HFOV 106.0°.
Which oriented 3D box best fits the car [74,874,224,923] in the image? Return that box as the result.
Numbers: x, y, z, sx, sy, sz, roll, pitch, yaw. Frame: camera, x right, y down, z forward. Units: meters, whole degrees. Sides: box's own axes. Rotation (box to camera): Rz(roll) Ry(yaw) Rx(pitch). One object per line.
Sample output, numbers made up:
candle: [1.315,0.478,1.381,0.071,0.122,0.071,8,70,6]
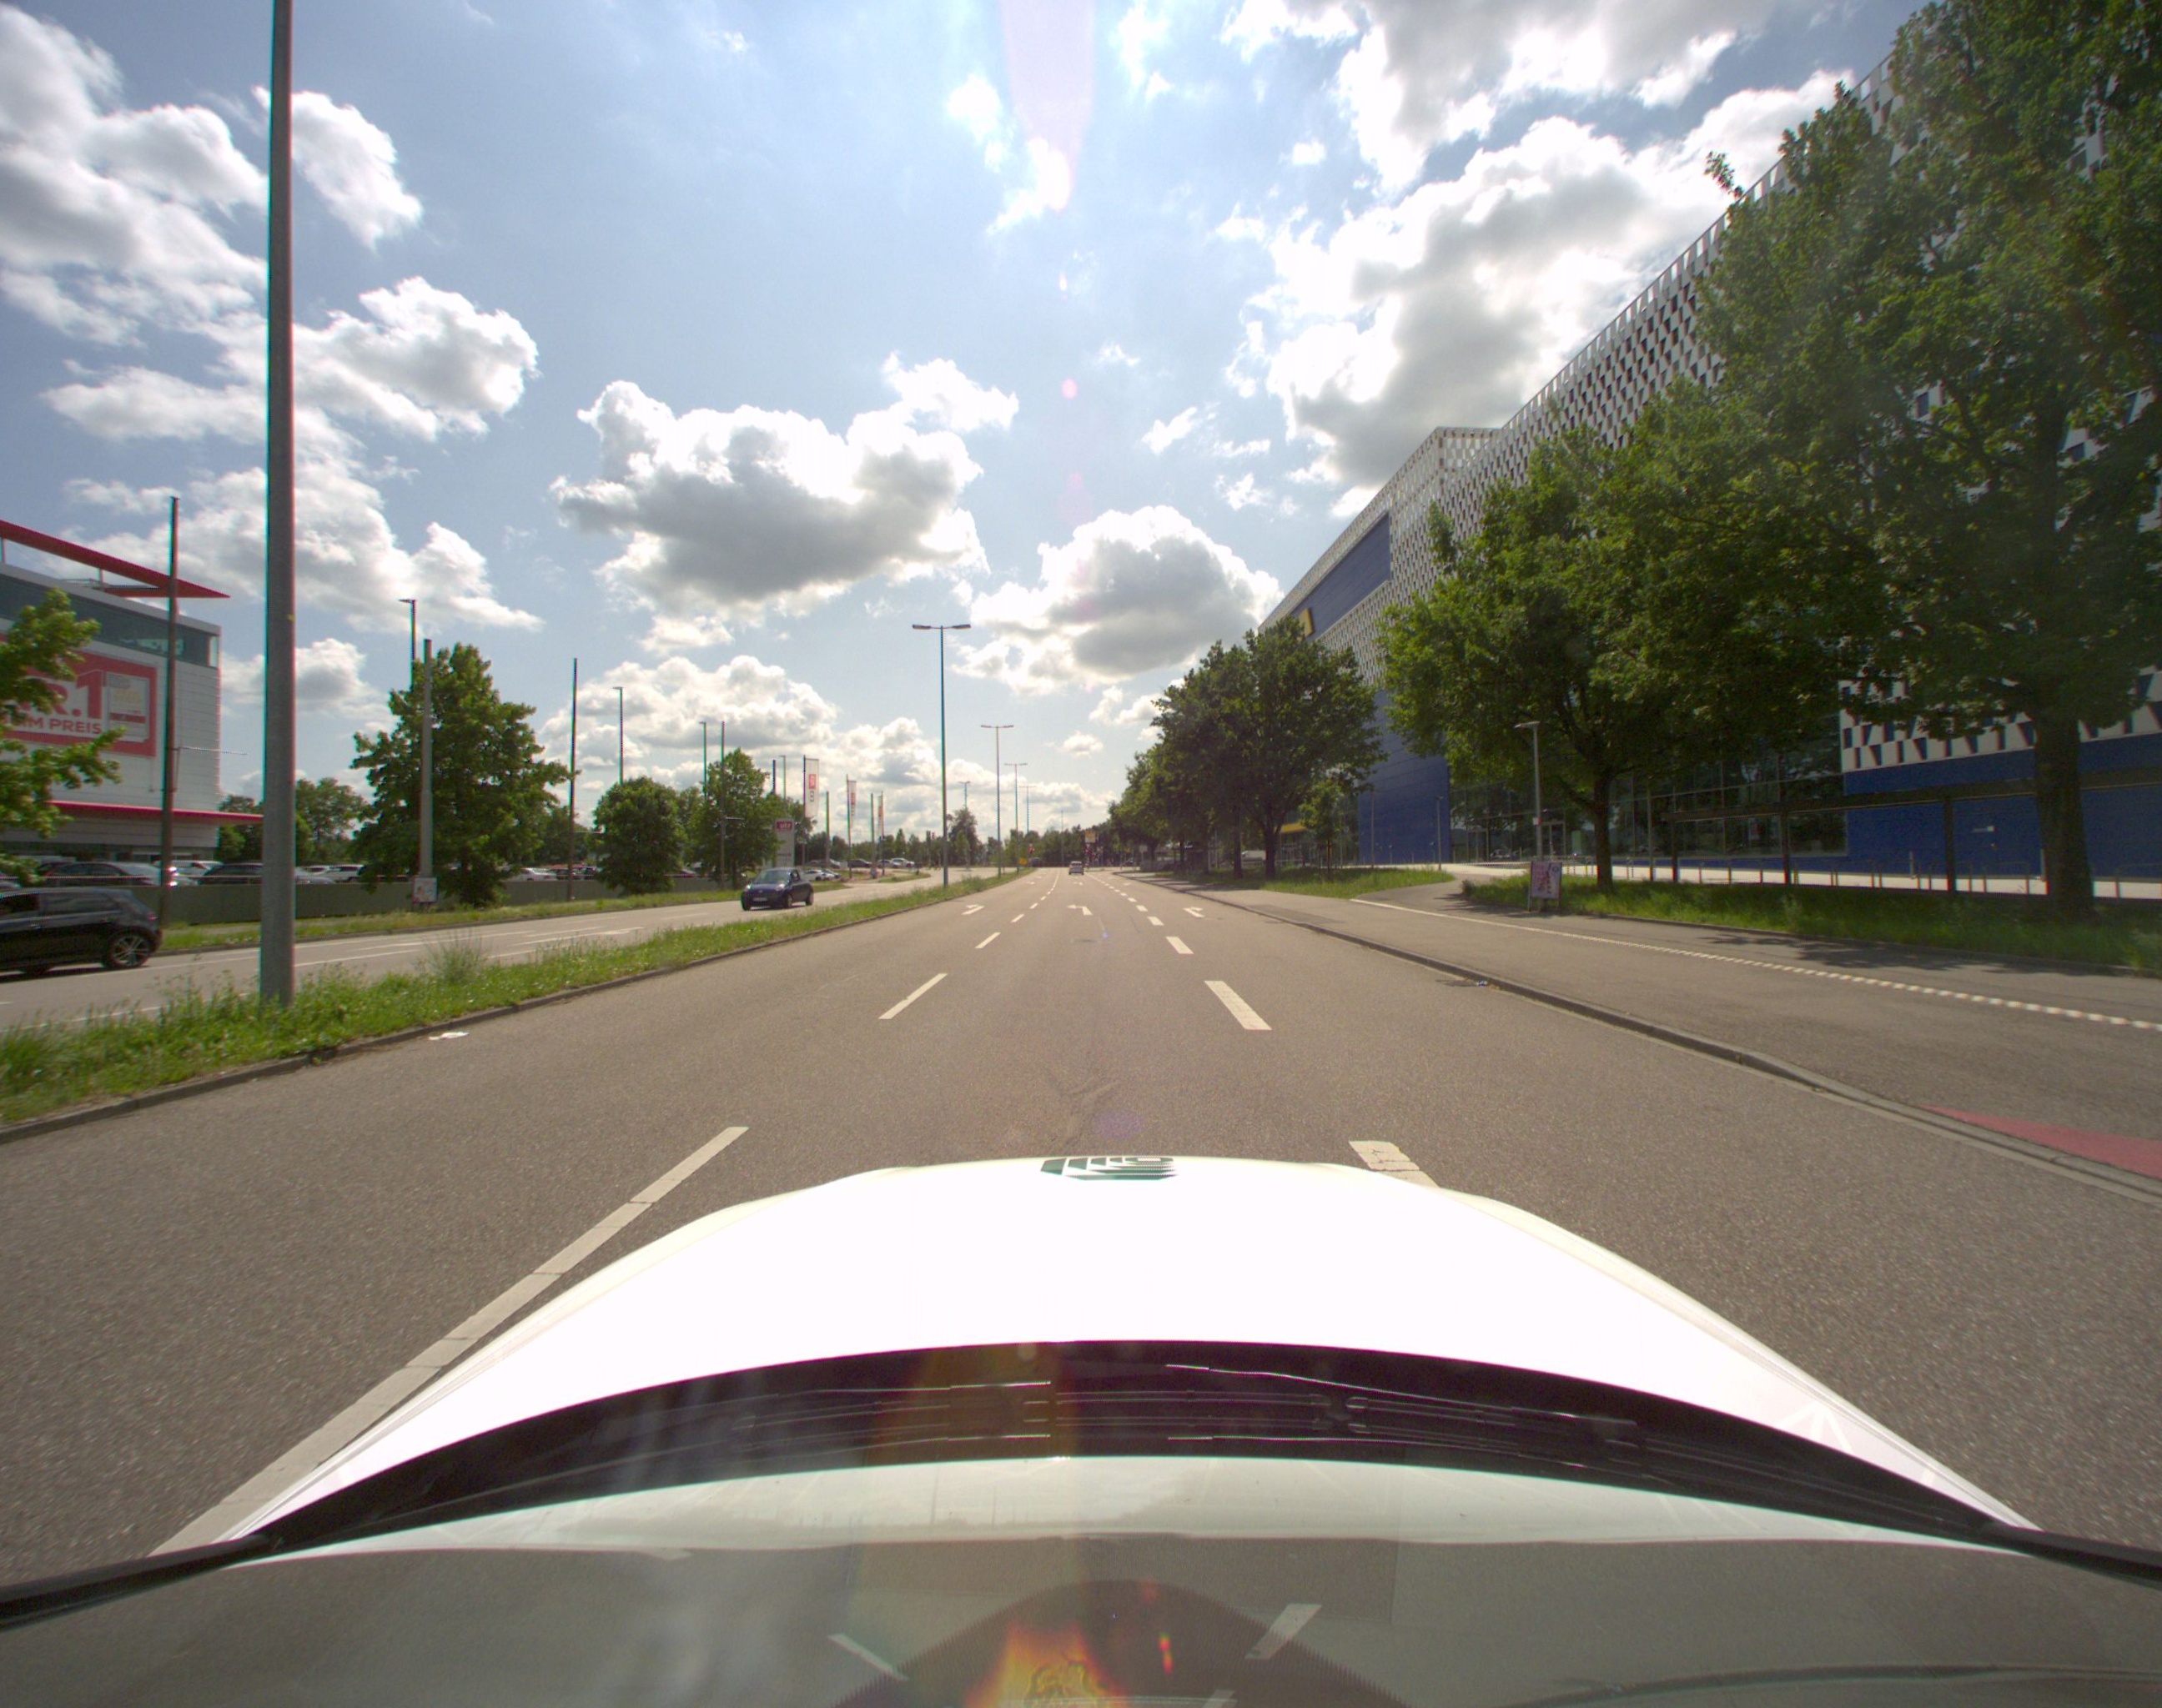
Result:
car: [-42.806,2.030,37.485,4.338,1.989,1.998,-1,1,-3]

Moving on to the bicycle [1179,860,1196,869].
bicycle: [12.265,1.178,93.685,1.860,0.995,0.423,-2,-2,-7]

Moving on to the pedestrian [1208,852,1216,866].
pedestrian: [18.152,0.714,112.776,1.001,1.902,0.977,-1,-3,12]

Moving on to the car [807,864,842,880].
car: [-32.737,2.281,103.987,3.990,2.014,1.991,-1,-1,-13]

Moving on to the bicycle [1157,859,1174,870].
bicycle: [10.104,1.257,97.259,1.860,1.187,0.423,-2,0,-7]

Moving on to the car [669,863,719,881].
car: [-43.704,2.051,92.070,4.571,1.989,1.998,0,-1,-3]

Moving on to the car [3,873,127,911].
car: [-57.642,2.147,46.278,4.338,1.989,1.998,-1,-1,-3]

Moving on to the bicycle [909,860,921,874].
bicycle: [-20.849,1.637,102.319,1.014,1.675,2.047,-2,0,-1]

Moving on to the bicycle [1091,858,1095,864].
bicycle: [2.287,1.401,154.410,0.617,1.087,1.722,-1,0,0]

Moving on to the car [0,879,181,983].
car: [-16.976,1.214,12.500,1.613,1.470,4.118,-2,0,2]

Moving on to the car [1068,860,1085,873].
car: [-0.565,1.435,94.196,1.889,1.470,3.831,1,0,-1]

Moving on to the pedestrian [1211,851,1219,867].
pedestrian: [14.158,0.531,85.823,0.626,1.722,0.528,-3,-2,34]

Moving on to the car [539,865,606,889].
car: [-43.414,1.953,69.586,4.338,1.989,1.998,0,-1,-3]

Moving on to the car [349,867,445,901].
car: [-43.526,1.905,51.907,4.338,1.989,1.998,-1,-1,-3]

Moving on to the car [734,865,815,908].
car: [-11.469,1.213,30.701,1.734,1.475,3.673,-2,-2,-2]

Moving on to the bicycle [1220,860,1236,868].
bicycle: [18.494,1.270,102.369,1.859,0.994,0.464,-1,0,-6]

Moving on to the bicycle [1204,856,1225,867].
bicycle: [14.001,0.783,85.382,1.988,1.108,0.581,-3,-1,36]

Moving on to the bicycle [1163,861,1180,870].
bicycle: [10.467,1.359,93.807,1.860,0.994,0.423,-2,0,-7]

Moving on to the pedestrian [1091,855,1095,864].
pedestrian: [2.284,1.041,154.378,0.609,1.769,0.672,-1,0,0]

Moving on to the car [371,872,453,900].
car: [-48.716,2.321,59.380,4.338,1.831,1.776,-1,-1,-3]

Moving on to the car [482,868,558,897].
car: [-42.989,2.161,62.447,4.338,1.989,1.998,-1,-1,-3]

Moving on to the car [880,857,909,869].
car: [-31.422,1.542,137.328,4.338,1.989,1.998,-1,-1,-3]

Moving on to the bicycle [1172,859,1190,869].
bicycle: [10.582,1.042,86.191,1.860,0.994,0.423,-3,0,-7]

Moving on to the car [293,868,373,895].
car: [-58.913,2.127,64.203,4.338,1.989,1.998,-1,0,-3]

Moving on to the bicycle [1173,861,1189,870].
bicycle: [11.658,1.320,95.066,1.860,0.994,0.423,-2,0,-7]

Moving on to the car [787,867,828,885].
car: [-33.468,2.694,99.697,4.338,1.989,1.998,-1,-1,-3]

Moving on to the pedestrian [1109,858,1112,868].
pedestrian: [5.370,1.588,146.900,0.521,1.721,0.730,-2,0,2]

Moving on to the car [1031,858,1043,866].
car: [-7.794,1.427,144.030,1.891,1.470,3.826,1,0,-5]

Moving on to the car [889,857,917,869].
car: [-30.648,1.513,140.297,4.338,1.989,1.998,-1,-1,-3]

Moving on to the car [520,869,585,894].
car: [-43.547,2.229,67.152,4.062,1.989,1.841,0,-1,-3]

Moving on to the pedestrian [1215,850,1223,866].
pedestrian: [19.235,0.573,113.468,1.001,2.072,0.977,-1,-2,12]

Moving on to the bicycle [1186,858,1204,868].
bicycle: [12.670,0.973,90.379,1.860,0.995,0.423,-3,-1,-7]

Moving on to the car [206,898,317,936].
car: [-48.130,3.692,47.887,4.338,1.989,1.998,-1,-1,-3]

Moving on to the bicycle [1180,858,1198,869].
bicycle: [12.251,1.075,92.464,1.860,1.231,0.423,-2,0,-7]

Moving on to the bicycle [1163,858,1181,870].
bicycle: [10.085,1.111,90.099,1.890,1.170,0.424,-2,0,-1]

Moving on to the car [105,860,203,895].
car: [-65.258,1.634,57.377,4.545,2.306,1.868,-1,-1,-3]

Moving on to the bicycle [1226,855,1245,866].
bicycle: [18.162,0.726,96.059,2.128,1.229,0.722,-2,0,8]

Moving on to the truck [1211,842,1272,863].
truck: [33.297,-0.345,169.135,11.925,4.104,2.950,-1,0,-2]

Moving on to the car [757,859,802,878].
car: [-34.182,1.637,92.419,4.338,1.989,1.998,-1,-1,-3]

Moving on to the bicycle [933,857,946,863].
bicycle: [-22.370,0.947,129.028,2.011,0.999,0.621,0,-1,-2]

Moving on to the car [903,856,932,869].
car: [-26.835,1.410,133.724,4.338,1.989,1.998,-1,-1,-3]
